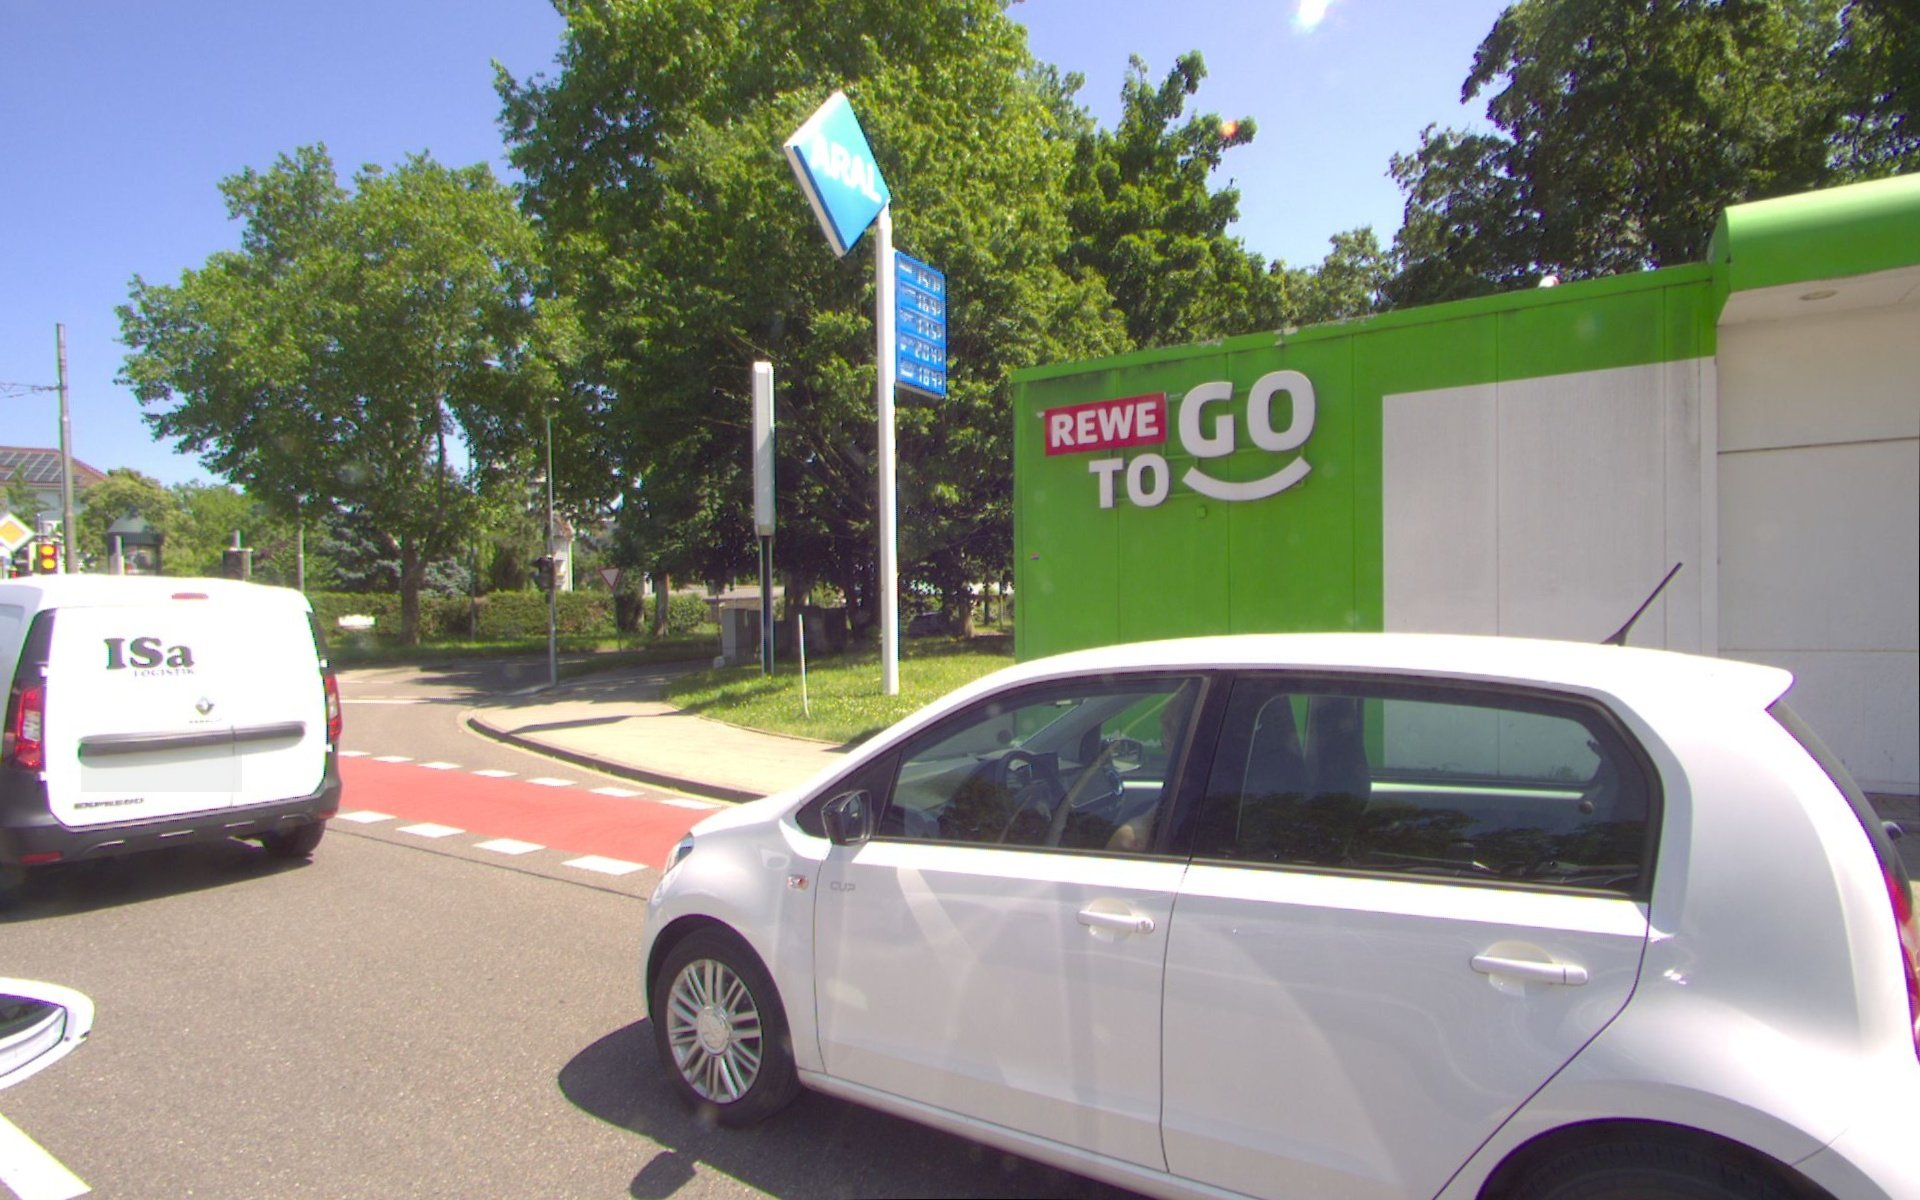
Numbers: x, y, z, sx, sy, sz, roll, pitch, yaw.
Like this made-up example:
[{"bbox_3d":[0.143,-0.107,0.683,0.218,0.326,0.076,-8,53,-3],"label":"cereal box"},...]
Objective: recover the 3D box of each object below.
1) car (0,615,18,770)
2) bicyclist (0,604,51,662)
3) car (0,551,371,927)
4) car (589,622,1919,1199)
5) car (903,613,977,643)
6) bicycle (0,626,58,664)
[{"bbox_3d":[-11.906,0.939,10.648,3.943,1.589,1.832,0,-1,32],"label":"car"},{"bbox_3d":[-29.797,1.036,31.937,0.714,1.811,0.974,-1,0,22],"label":"bicyclist"},{"bbox_3d":[-5.867,0.726,6.621,4.005,1.811,1.725,-1,-2,31],"label":"car"},{"bbox_3d":[0.653,0.817,2.995,3.387,1.466,1.606,0,-1,33],"label":"car"},{"bbox_3d":[-1.024,1.465,52.752,1.733,1.539,3.968,-2,-1,41],"label":"car"},{"bbox_3d":[-29.833,1.419,31.916,1.923,1.174,0.893,-1,0,23],"label":"bicycle"}]
